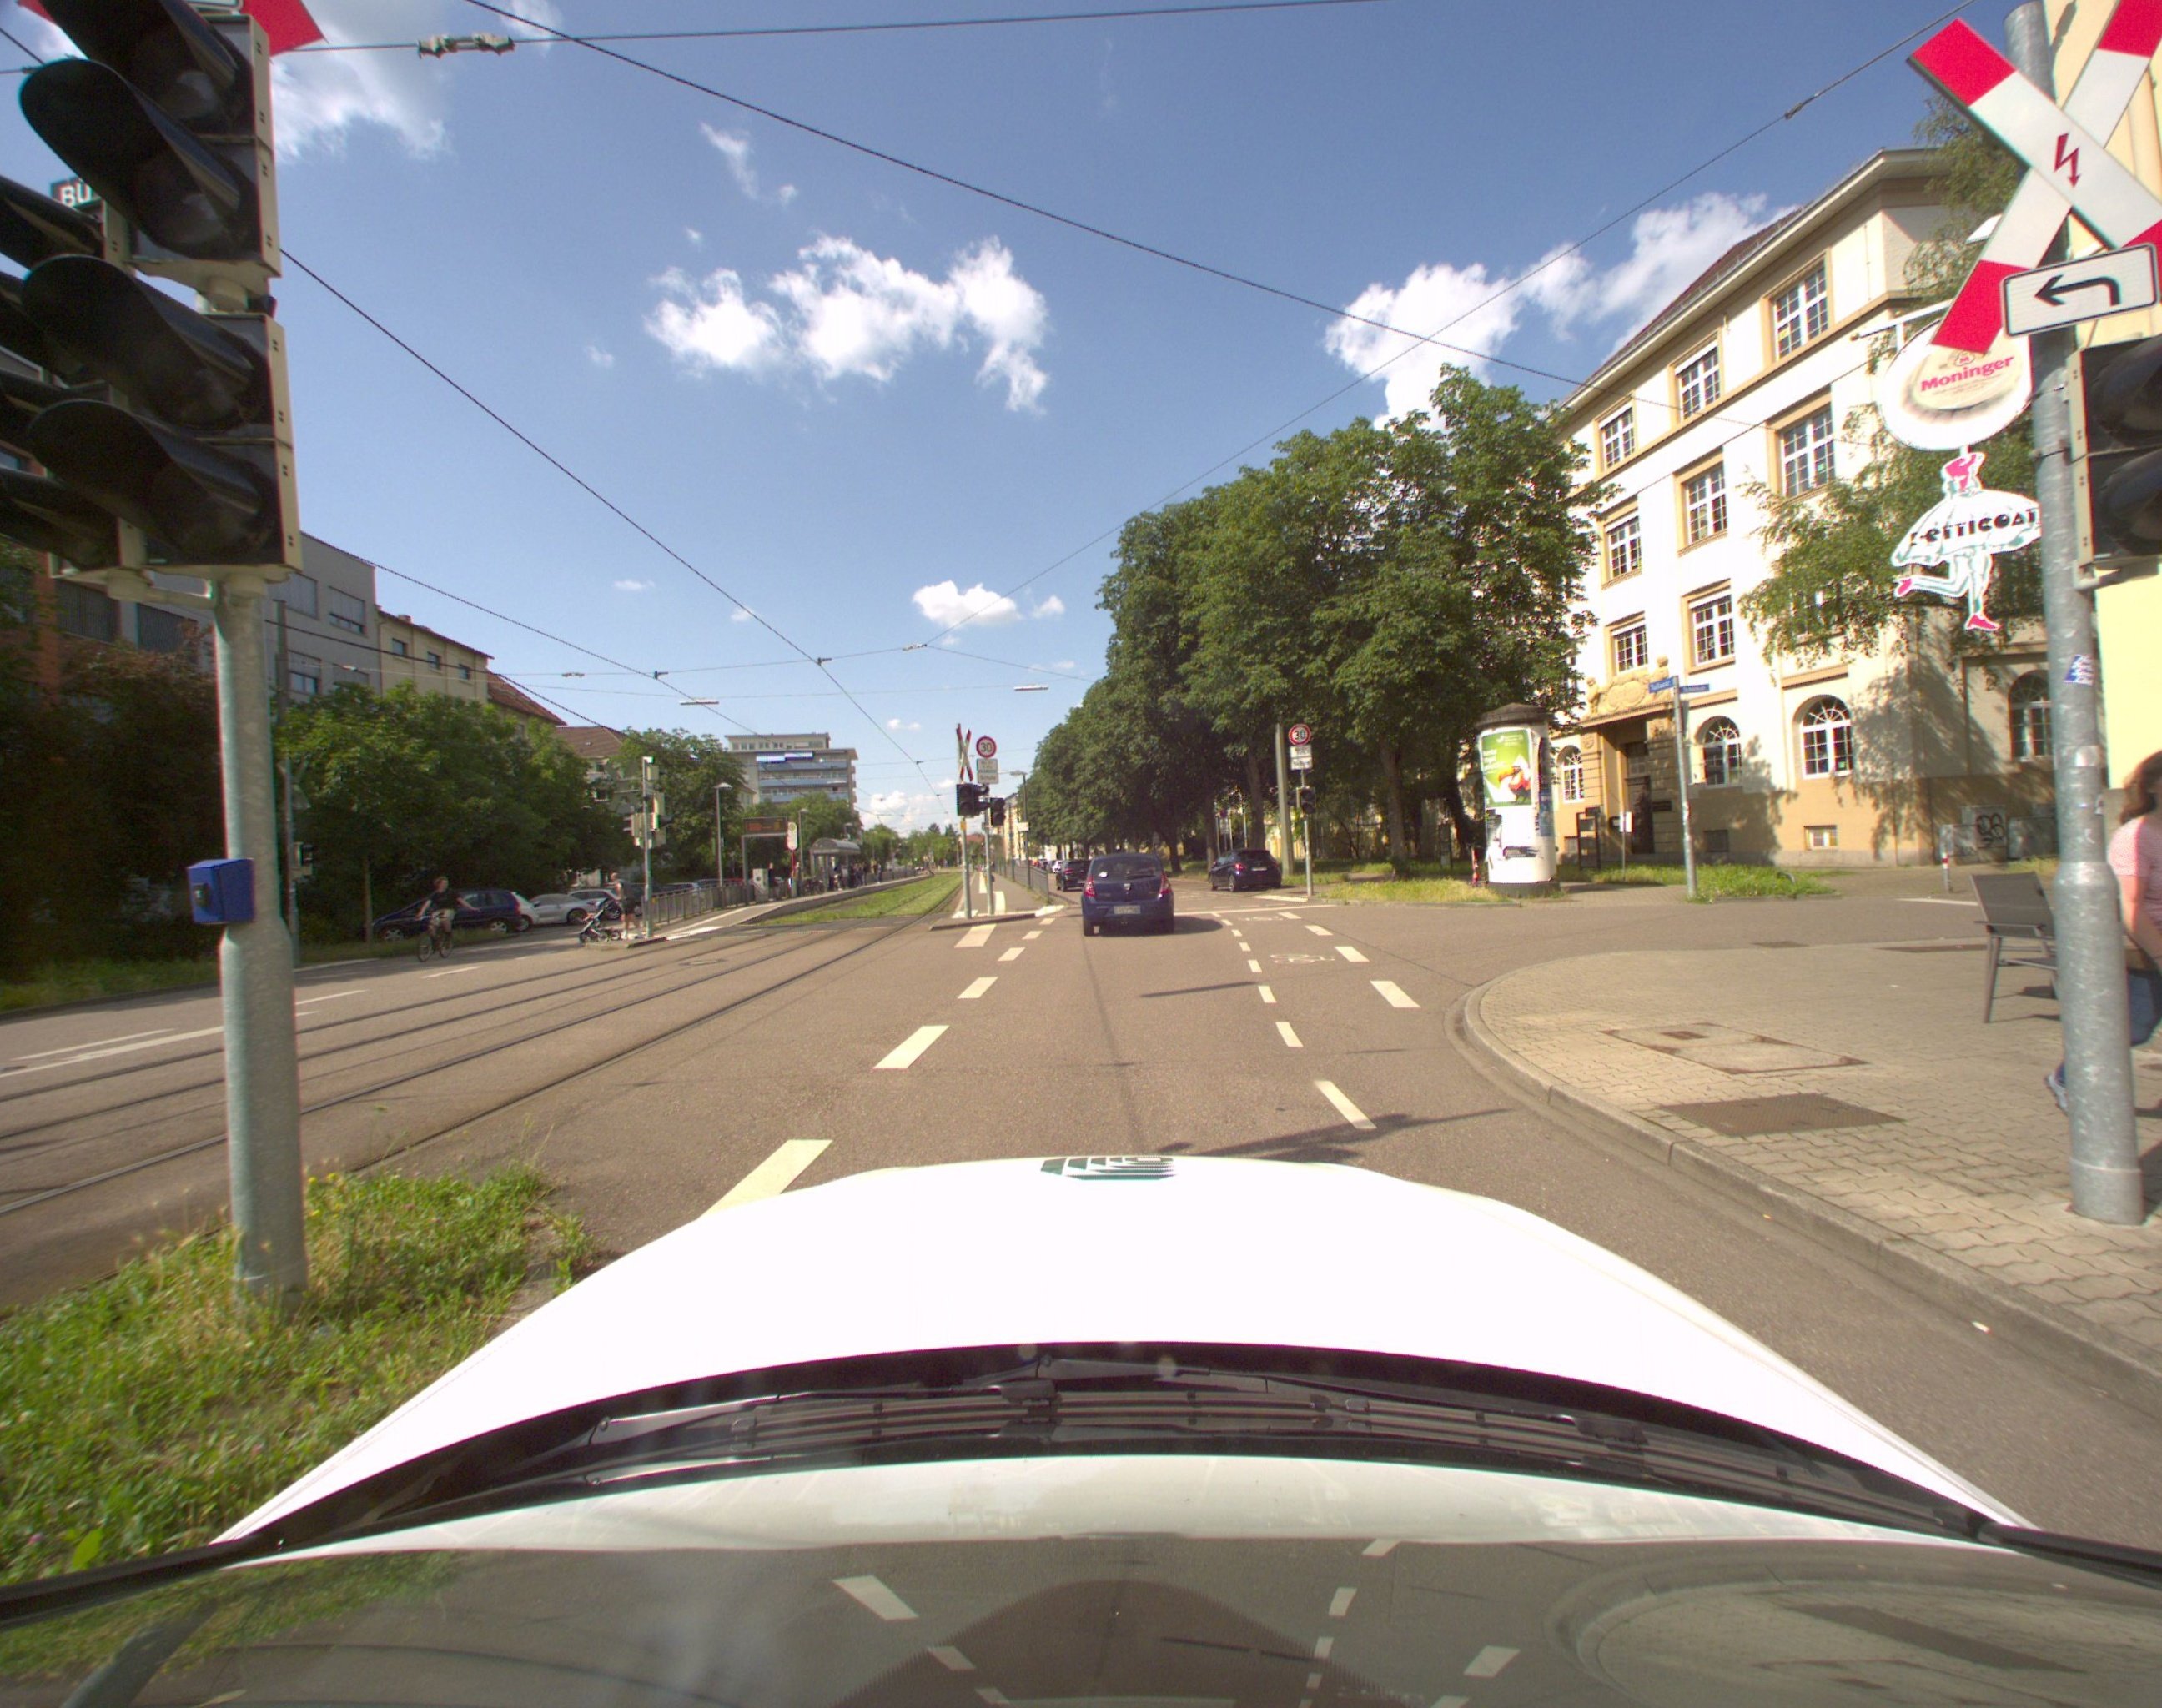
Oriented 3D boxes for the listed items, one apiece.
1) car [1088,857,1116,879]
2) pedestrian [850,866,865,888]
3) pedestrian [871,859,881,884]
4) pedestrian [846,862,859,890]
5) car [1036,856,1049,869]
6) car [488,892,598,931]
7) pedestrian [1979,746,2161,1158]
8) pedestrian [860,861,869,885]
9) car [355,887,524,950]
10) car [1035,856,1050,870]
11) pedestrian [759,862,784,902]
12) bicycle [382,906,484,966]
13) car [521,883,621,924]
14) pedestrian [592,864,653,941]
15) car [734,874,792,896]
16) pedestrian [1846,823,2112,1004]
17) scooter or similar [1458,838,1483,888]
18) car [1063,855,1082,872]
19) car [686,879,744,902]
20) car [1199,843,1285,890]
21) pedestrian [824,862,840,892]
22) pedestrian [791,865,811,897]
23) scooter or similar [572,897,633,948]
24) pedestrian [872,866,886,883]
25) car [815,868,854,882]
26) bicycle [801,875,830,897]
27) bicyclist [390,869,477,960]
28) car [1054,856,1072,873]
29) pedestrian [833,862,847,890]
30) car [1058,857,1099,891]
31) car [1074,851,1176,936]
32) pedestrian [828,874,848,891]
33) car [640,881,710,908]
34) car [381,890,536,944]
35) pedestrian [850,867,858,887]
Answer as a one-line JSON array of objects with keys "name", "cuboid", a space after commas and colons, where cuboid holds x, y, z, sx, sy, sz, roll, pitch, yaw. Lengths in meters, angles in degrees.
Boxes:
[{"name": "car", "cuboid": [1.564, 1.015, 61.816, 1.856, 1.445, 3.998, -5, 0, -1]}, {"name": "pedestrian", "cuboid": [-14.697, 1.508, 53.666, 0.648, 1.426, 0.566, -4, 0, 30]}, {"name": "pedestrian", "cuboid": [-17.089, 1.479, 67.816, 0.662, 2.013, 0.799, -3, 0, -16]}, {"name": "pedestrian", "cuboid": [-14.935, 1.418, 53.231, 0.602, 1.766, 0.639, -3, 0, 2]}, {"name": "car", "cuboid": [-5.537, 1.207, 116.952, 1.663, 1.772, 3.996, -3, 0, -3]}, {"name": "car", "cuboid": [-21.652, 2.282, 32.847, 1.525, 1.236, 3.409, -4, 0, 44]}, {"name": "pedestrian", "cuboid": [4.653, 0.378, 3.484, 0.668, 1.648, 0.765, -4, -1, 7]}, {"name": "pedestrian", "cuboid": [-15.903, 1.384, 59.794, 0.489, 1.712, 0.461, -4, 0, -17]}, {"name": "car", "cuboid": [-21.155, 2.074, 26.959, 1.704, 1.640, 4.158, -4, 0, 44]}, {"name": "car", "cuboid": [-5.279, 1.166, 110.849, 1.825, 1.761, 3.998, -3, 0, -1]}, {"name": "pedestrian", "cuboid": [-13.850, 1.259, 36.421, 0.705, 1.726, 0.672, -4, -1, 35]}, {"name": "bicycle", "cuboid": [-15.224, 1.893, 19.201, 1.155, 1.177, 1.779, -4, -1, -13]}, {"name": "car", "cuboid": [-22.285, 2.142, 35.673, 3.409, 1.505, 1.525, -3, -1, -44]}, {"name": "pedestrian", "cuboid": [-11.248, 1.159, 20.021, 0.871, 1.775, 1.000, -5, 0, -9]}, {"name": "car", "cuboid": [-25.779, 2.506, 66.060, 1.694, 1.367, 4.025, -4, 0, 42]}, {"name": "pedestrian", "cuboid": [7.006, 0.444, 6.450, 0.533, 1.269, 1.302, -2, -2, -4]}, {"name": "scooter or similar", "cuboid": [9.715, 0.217, 20.329, 0.303, 1.189, 1.167, -3, 0, 16]}, {"name": "car", "cuboid": [-0.917, 0.979, 83.739, 1.823, 1.537, 3.998, -4, 0, -1]}, {"name": "car", "cuboid": [-25.133, 2.502, 55.968, 1.437, 1.309, 3.268, -4, 0, 38]}, {"name": "car", "cuboid": [5.573, 0.440, 28.744, 1.764, 1.433, 3.894, -4, 0, -7]}, {"name": "pedestrian", "cuboid": [-14.680, 1.353, 47.990, 0.654, 1.692, 0.655, -4, 0, -6]}, {"name": "pedestrian", "cuboid": [-14.269, 1.383, 41.525, 0.661, 1.569, 0.686, -5, 0, 1]}, {"name": "scooter or similar", "cuboid": [-11.575, 1.642, 19.716, 0.953, 1.064, 0.795, -5, 0, -7]}, {"name": "pedestrian", "cuboid": [-18.142, 1.804, 73.228, 1.033, 1.437, 0.698, -5, 0, -21]}, {"name": "car", "cuboid": [-29.083, 2.481, 96.254, 4.022, 1.447, 1.707, -3, 0, -41]}, {"name": "bicycle", "cuboid": [-13.468, 1.614, 41.383, 0.683, 0.974, 1.773, -6, 0, 3]}, {"name": "bicyclist", "cuboid": [-15.230, 1.378, 19.221, 0.949, 2.013, 1.568, -3, 0, -14]}, {"name": "car", "cuboid": [-2.103, 1.170, 92.340, 1.615, 1.750, 3.991, -3, 0, -6]}, {"name": "pedestrian", "cuboid": [-15.415, 1.432, 52.097, 0.592, 1.736, 0.556, -4, 0, -2]}, {"name": "car", "cuboid": [-0.163, 0.895, 37.321, 1.696, 1.368, 3.512, -2, 1, -2]}, {"name": "car", "cuboid": [0.864, 0.701, 16.329, 1.761, 1.462, 3.778, -2, 0, 2]}, {"name": "pedestrian", "cuboid": [-14.789, 1.742, 49.605, 0.923, 0.989, 0.796, -5, -2, -5]}, {"name": "car", "cuboid": [-23.549, 2.336, 47.329, 1.437, 1.309, 3.268, -3, 0, 35]}, {"name": "car", "cuboid": [-22.139, 2.205, 29.086, 1.704, 1.499, 4.158, -4, 0, 44]}, {"name": "pedestrian", "cuboid": [-16.665, 1.680, 59.821, 0.489, 1.452, 0.461, -4, 0, -17]}]
